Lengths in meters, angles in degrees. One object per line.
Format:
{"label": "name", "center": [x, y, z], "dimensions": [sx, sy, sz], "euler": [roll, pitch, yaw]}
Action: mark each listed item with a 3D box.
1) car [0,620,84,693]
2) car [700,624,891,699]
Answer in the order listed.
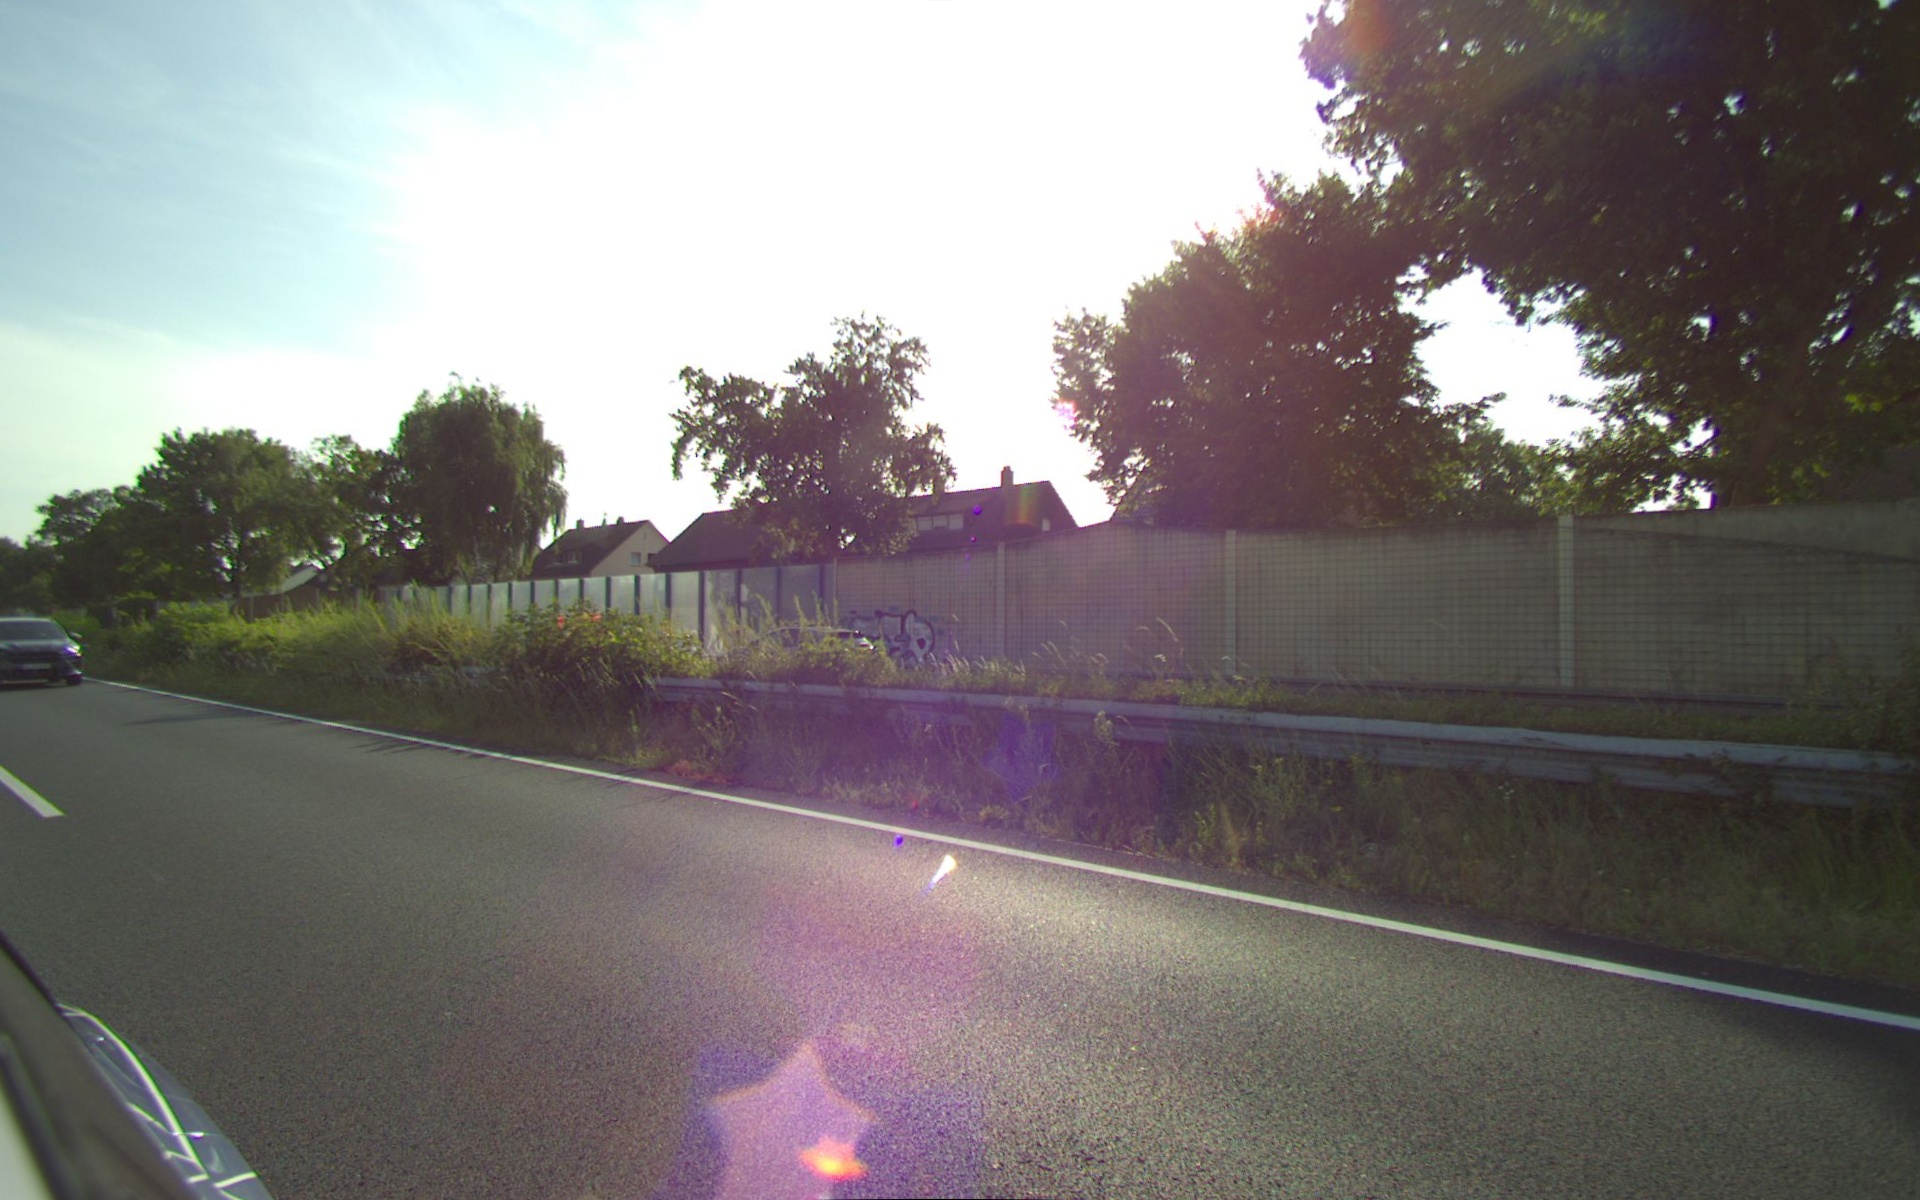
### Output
{"label": "car", "center": [-22.097, 1.264, 23.720], "dimensions": [4.244, 1.536, 1.798], "euler": [-1, 0, 41]}
{"label": "car", "center": [-3.593, 1.235, 21.646], "dimensions": [4.287, 1.371, 1.631], "euler": [-1, 1, 41]}
